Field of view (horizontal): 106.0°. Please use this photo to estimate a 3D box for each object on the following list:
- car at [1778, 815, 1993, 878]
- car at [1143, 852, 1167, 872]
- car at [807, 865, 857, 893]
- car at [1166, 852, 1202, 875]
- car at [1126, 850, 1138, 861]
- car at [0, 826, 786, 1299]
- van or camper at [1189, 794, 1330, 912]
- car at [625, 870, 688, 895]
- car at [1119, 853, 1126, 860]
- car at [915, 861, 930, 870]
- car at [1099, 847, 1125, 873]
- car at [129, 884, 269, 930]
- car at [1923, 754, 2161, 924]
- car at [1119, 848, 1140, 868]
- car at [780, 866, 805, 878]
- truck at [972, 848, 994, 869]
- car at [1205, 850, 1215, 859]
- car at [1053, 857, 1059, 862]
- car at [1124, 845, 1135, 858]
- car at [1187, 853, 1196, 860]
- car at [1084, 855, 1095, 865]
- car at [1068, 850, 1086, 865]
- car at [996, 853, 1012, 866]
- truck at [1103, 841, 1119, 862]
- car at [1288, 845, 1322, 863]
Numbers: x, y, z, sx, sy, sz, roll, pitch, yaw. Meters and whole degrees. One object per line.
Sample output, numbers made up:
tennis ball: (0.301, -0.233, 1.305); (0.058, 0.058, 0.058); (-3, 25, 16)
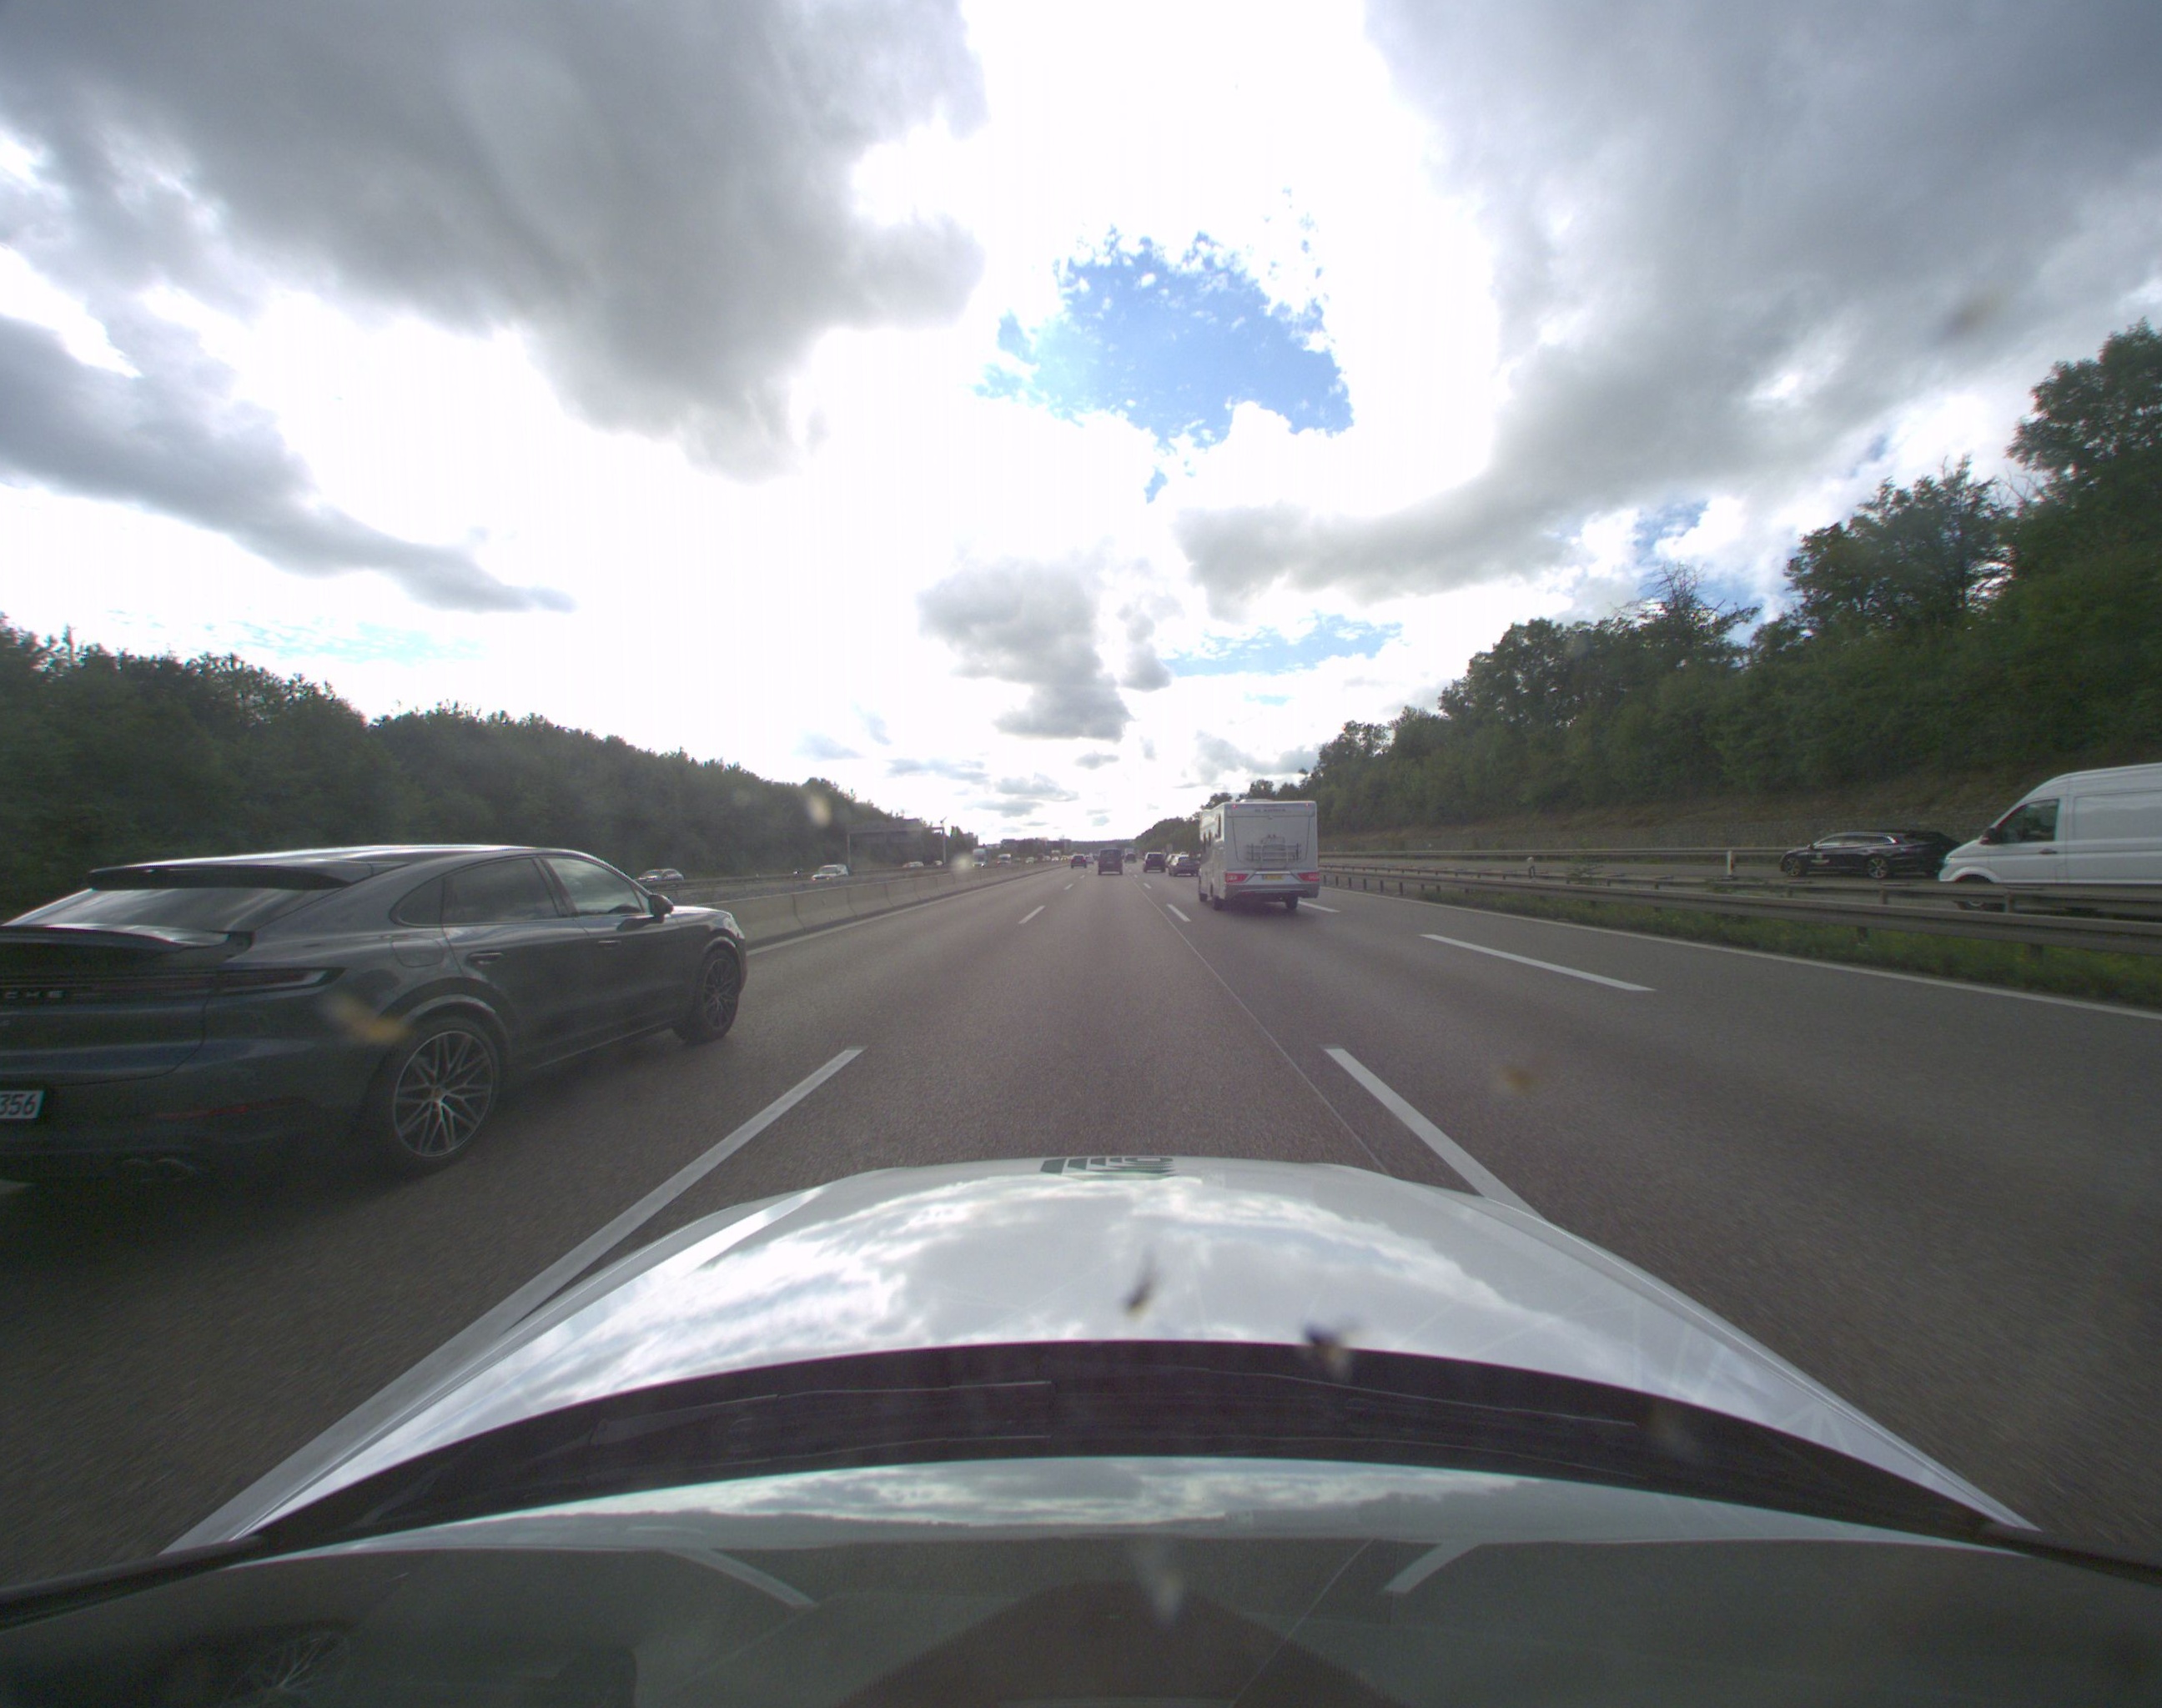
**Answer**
car: (24.124, -0.216, 24.734); (1.837, 1.602, 4.765); (-4, 0, 1)
car: (6.204, 0.644, 68.164); (1.691, 1.564, 4.115); (-1, 0, 1)
car: (-18.302, 1.803, 60.161); (1.828, 1.786, 5.505); (-2, 0, 1)
car: (6.953, 0.626, 55.316); (1.716, 1.479, 4.388); (-1, 0, -2)
car: (9.327, 0.222, 148.667); (1.906, 1.919, 4.032); (-1, 0, 2)
car: (-4.080, 0.742, 5.596); (1.905, 1.636, 5.502); (-1, 0, 2)
van or camper: (4.643, -0.022, 22.734); (2.459, 2.722, 7.664); (-1, 0, 2)
car: (-31.597, 2.091, 60.831); (1.985, 1.592, 4.771); (-2, 0, 3)
car: (10.890, 0.711, 213.683); (1.745, 1.695, 4.192); (-1, 0, 2)
car: (-27.759, 2.013, 142.701); (1.558, 1.365, 4.053); (-2, 0, 1)
car: (2.339, 0.437, 62.277); (1.848, 1.910, 4.261); (-1, 0, 2)
car: (-39.971, 2.357, 37.068); (1.586, 1.757, 4.283); (-2, 0, 1)
car: (17.273, -0.267, 12.382); (2.062, 2.554, 6.746); (-2, 0, 2)
car: (4.416, 0.362, 74.779); (1.714, 1.724, 4.393); (-1, 0, 2)
car: (-37.662, 2.327, 106.334); (1.586, 1.494, 4.181); (-2, 0, 1)
truck: (-15.534, 0.700, 129.412); (2.345, 3.263, 7.828); (-2, 0, 2)
car: (27.489, 0.152, 173.478); (1.590, 1.804, 3.825); (-1, 0, 0)
car: (-7.475, 1.496, 240.714); (1.558, 1.365, 4.053); (-2, 0, 1)
car: (9.231, -0.505, 154.423); (1.866, 2.357, 4.284); (-1, 0, 2)
car: (27.335, 0.527, 201.563); (1.745, 1.695, 4.192); (-1, 0, 2)
car: (1.379, 0.998, 133.713); (1.691, 1.611, 4.115); (-1, 0, 1)
car: (-0.474, 0.416, 95.501); (1.866, 1.698, 4.073); (-1, 0, 2)
car: (-14.902, 1.075, 157.862); (2.156, 2.271, 6.463); (-2, 0, 1)
truck: (6.415, -0.535, 175.444); (3.250, 4.375, 11.031); (-1, 0, 2)
car: (19.626, -0.001, 71.583); (1.836, 1.484, 4.528); (-4, 0, 2)
